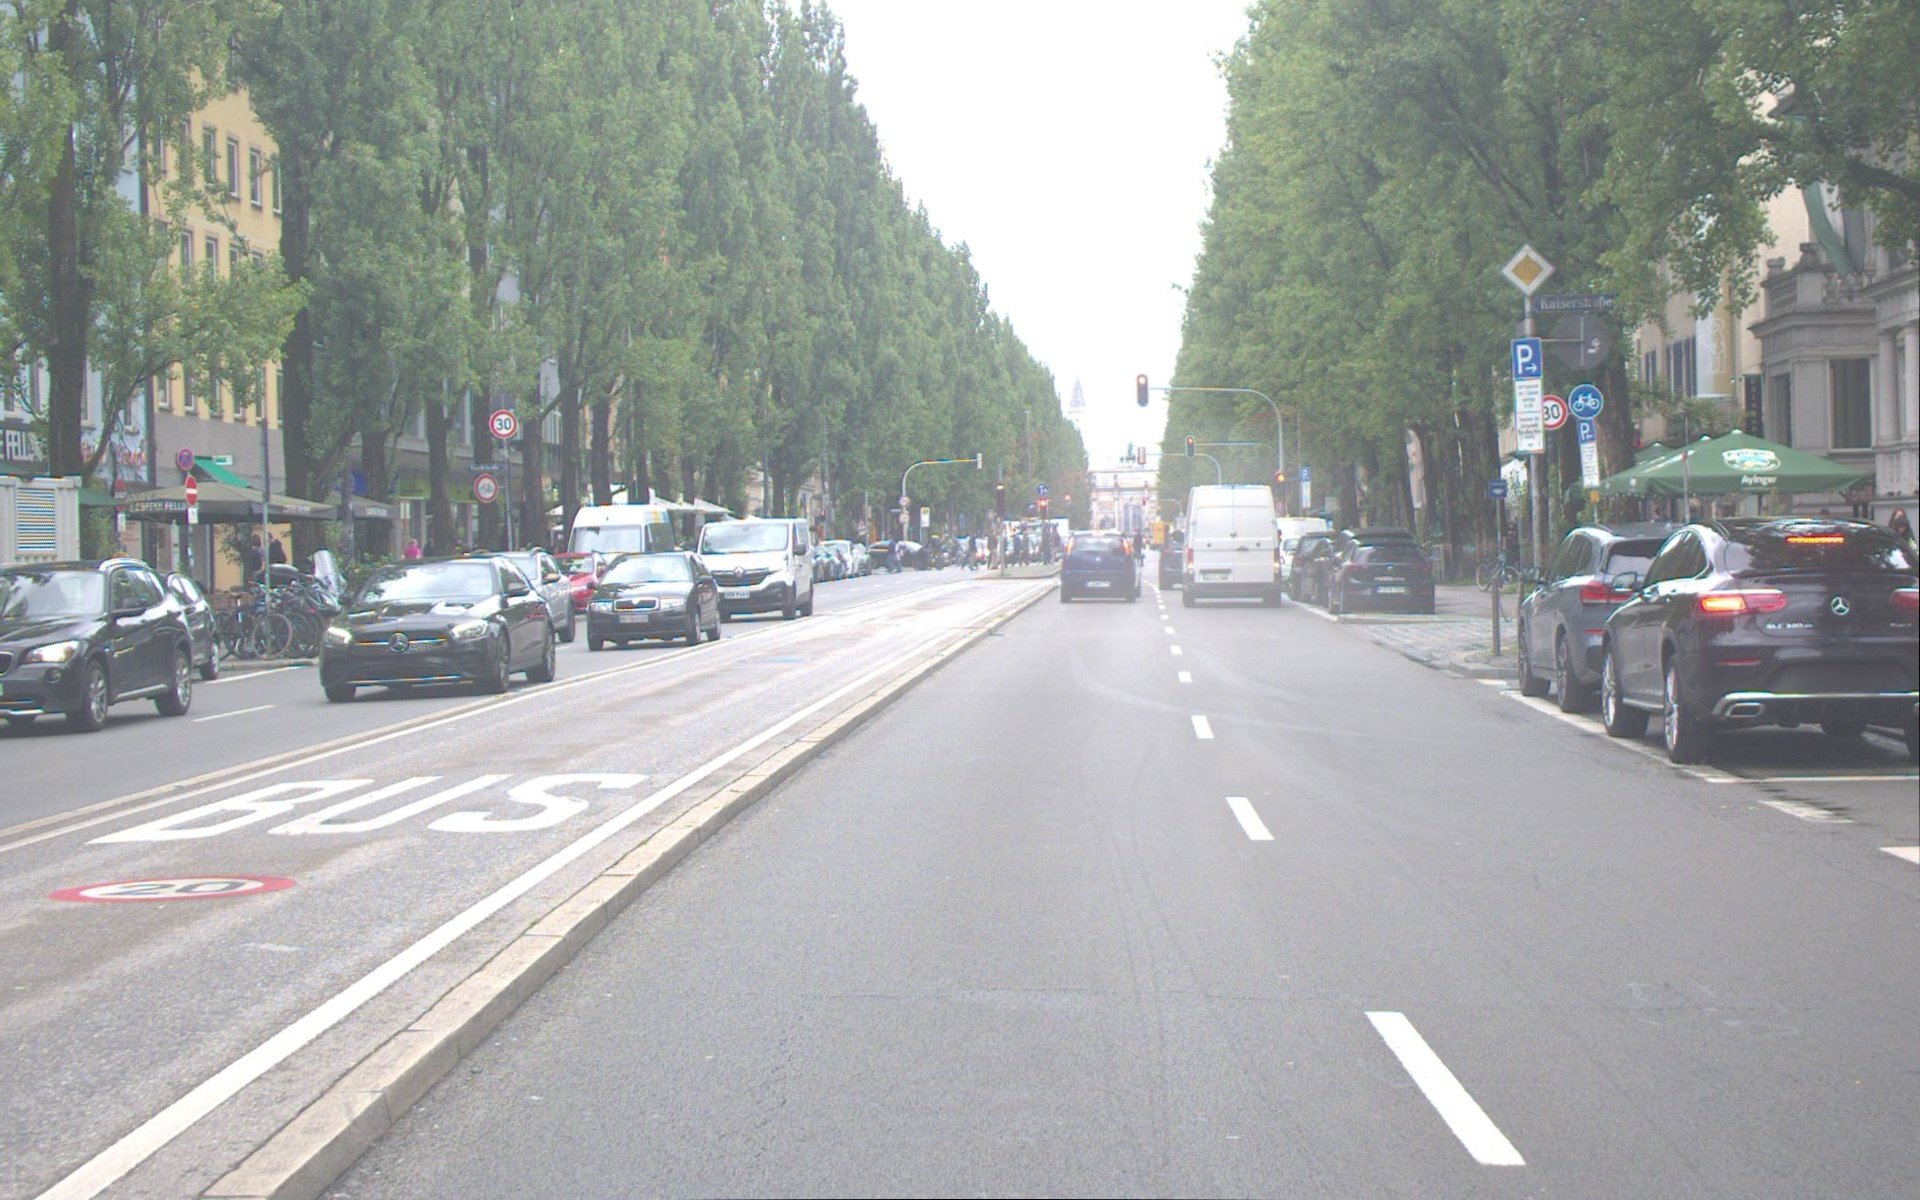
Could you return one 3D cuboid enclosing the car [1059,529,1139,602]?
[{"bbox_3d":[3.155,-0.766,77.455,1.759,1.614,3.746,0,0,3],"label":"car"}]

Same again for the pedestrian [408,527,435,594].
[{"bbox_3d":[-15.160,-1.112,96.794,0.582,1.850,0.675,-1,1,2],"label":"pedestrian"}]

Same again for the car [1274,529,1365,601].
[{"bbox_3d":[8.175,-0.793,78.443,1.805,1.590,4.000,0,0,2],"label":"car"}]

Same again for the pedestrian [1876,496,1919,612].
[{"bbox_3d":[13.612,-0.663,49.494,0.669,1.645,0.625,-1,1,30],"label":"pedestrian"}]

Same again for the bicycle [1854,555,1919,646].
[{"bbox_3d":[11.442,-0.018,39.660,2.053,1.020,0.691,-1,1,-7],"label":"bicycle"}]

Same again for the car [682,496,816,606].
[{"bbox_3d":[-4.031,-0.932,66.415,1.994,1.927,4.918,-3,0,2],"label":"car"}]

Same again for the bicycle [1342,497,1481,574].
[{"bbox_3d":[11.884,-1.680,90.482,3.551,2.007,1.296,0,0,12],"label":"bicycle"}]

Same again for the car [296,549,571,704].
[{"bbox_3d":[-5.553,0.232,36.875,1.994,1.427,4.772,-2,1,2],"label":"car"}]

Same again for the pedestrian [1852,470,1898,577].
[{"bbox_3d":[14.177,-1.181,53.298,0.648,1.641,0.765,0,0,12],"label":"pedestrian"}]

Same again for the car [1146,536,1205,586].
[{"bbox_3d":[5.856,-1.067,93.689,1.504,1.308,3.283,-1,1,2],"label":"car"}]

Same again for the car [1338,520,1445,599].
[{"bbox_3d":[8.653,-0.828,69.192,1.785,1.519,3.940,-1,1,2],"label":"car"}]

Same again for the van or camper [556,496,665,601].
[{"bbox_3d":[-8.411,-1.259,83.092,1.994,2.450,4.251,-1,1,2],"label":"van or camper"}]

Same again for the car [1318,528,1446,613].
[{"bbox_3d":[7.770,-0.567,63.646,1.944,1.462,4.000,-2,1,2],"label":"car"}]

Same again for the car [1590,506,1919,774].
[{"bbox_3d":[5.570,0.199,23.729,1.881,1.636,4.582,-1,1,4],"label":"car"}]

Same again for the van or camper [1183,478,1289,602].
[{"bbox_3d":[5.765,-1.221,72.213,2.034,2.467,4.000,-1,0,2],"label":"van or camper"}]

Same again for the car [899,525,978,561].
[{"bbox_3d":[-1.133,-2.979,179.966,3.986,1.739,2.000,-2,1,-3],"label":"car"}]

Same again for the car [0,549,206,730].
[{"bbox_3d":[-8.526,0.352,32.065,1.849,1.559,4.212,-2,0,3],"label":"car"}]

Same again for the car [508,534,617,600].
[{"bbox_3d":[-8.797,-0.727,76.322,1.795,1.424,4.000,0,0,2],"label":"car"}]

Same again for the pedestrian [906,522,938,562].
[{"bbox_3d":[-1.858,-2.845,169.203,1.137,1.910,1.153,-2,1,-29],"label":"pedestrian"}]

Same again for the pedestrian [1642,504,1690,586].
[{"bbox_3d":[15.308,-1.200,74.536,0.814,1.749,0.932,-2,1,21],"label":"pedestrian"}]

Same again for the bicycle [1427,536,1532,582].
[{"bbox_3d":[11.914,-0.944,78.949,0.759,1.020,2.734,-2,1,-32],"label":"bicycle"}]

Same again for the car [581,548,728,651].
[{"bbox_3d":[-4.518,-0.034,51.337,1.712,1.409,3.723,-2,1,2],"label":"car"}]

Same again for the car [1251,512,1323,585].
[{"bbox_3d":[9.106,-1.413,95.934,1.805,1.985,4.000,0,0,2],"label":"car"}]

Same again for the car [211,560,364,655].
[{"bbox_3d":[-9.808,0.101,50.340,1.512,1.340,3.237,0,0,2],"label":"car"}]

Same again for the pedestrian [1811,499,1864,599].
[{"bbox_3d":[16.388,-0.953,64.235,0.760,1.847,0.740,-2,1,0],"label":"pedestrian"}]

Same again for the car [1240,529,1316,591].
[{"bbox_3d":[8.298,-1.038,89.933,1.762,1.590,4.000,0,0,2],"label":"car"}]

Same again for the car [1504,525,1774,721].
[{"bbox_3d":[5.884,0.144,30.230,1.624,1.560,4.371,-1,1,2],"label":"car"}]

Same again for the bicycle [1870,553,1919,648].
[{"bbox_3d":[11.117,-0.009,37.871,2.054,1.020,0.691,-1,1,11],"label":"bicycle"}]

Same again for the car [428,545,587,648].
[{"bbox_3d":[-7.217,-0.066,55.192,1.826,1.527,4.000,-2,0,2],"label":"car"}]

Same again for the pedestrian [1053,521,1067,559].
[{"bbox_3d":[4.514,-2.702,155.515,0.553,1.710,0.493,-2,1,4],"label":"pedestrian"}]

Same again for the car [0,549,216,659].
[{"bbox_3d":[-10.522,0.025,42.263,1.810,1.246,3.700,-1,1,2],"label":"car"}]
